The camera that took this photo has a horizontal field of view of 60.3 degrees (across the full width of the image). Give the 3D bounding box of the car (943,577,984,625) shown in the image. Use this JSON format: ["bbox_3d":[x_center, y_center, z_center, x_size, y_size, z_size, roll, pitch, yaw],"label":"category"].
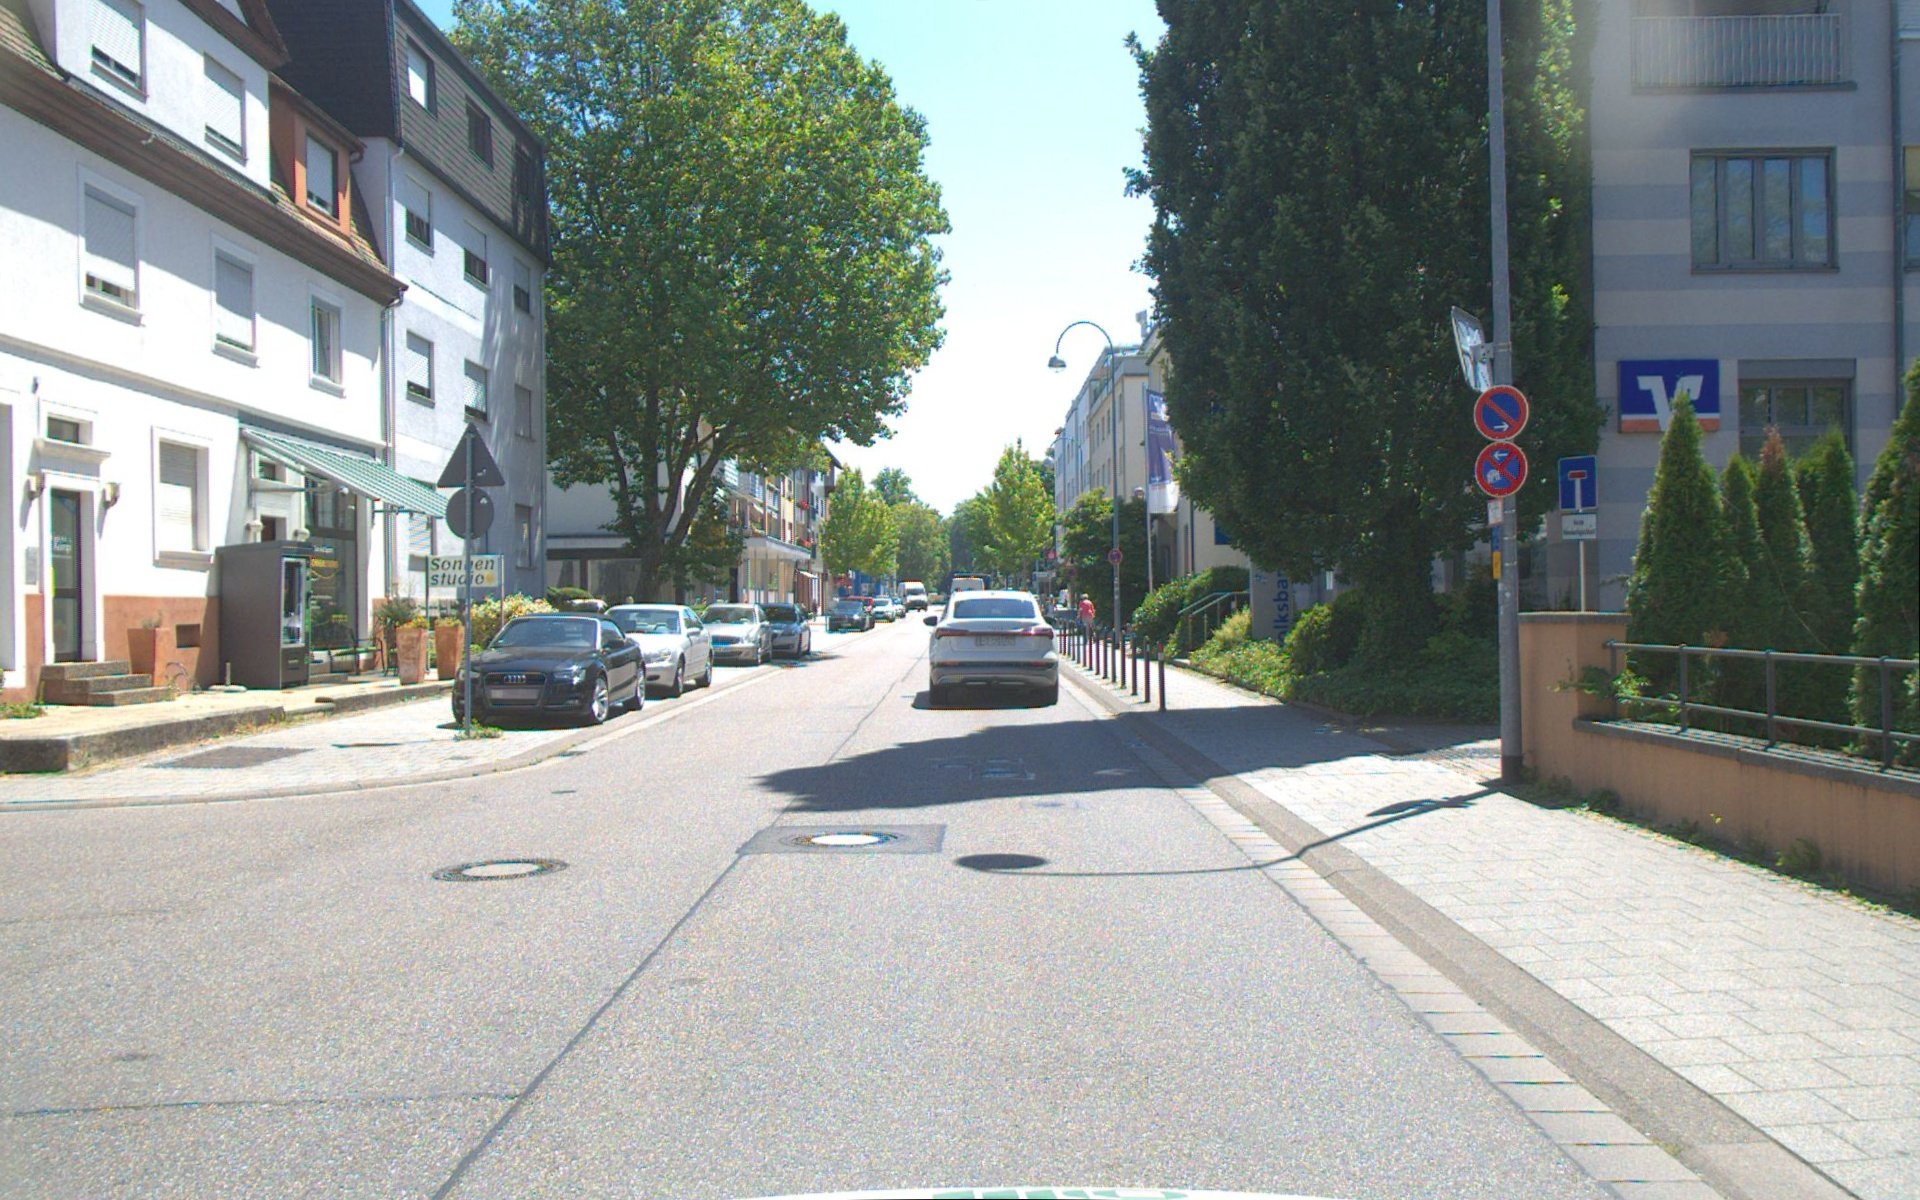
[{"bbox_3d":[0.201,0.051,89.347,2.112,2.484,5.283,1,0,0],"label":"car"}]

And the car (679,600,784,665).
[{"bbox_3d":[-5.506,0.740,40.378,1.940,1.477,4.867,0,0,-1],"label":"car"}]

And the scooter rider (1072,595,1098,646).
[{"bbox_3d":[3.971,0.650,52.534,0.701,1.576,0.770,-2,0,-2],"label":"scooter rider"}]

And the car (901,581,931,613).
[{"bbox_3d":[-4.002,-0.248,149.248,1.997,2.676,7.097,-3,0,-6],"label":"car"}]

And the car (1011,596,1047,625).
[{"bbox_3d":[3.653,0.537,88.532,1.857,1.463,4.545,-1,0,2],"label":"car"}]

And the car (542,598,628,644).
[{"bbox_3d":[-13.160,0.732,57.922,1.871,1.512,3.955,-1,0,-30],"label":"car"}]

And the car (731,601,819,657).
[{"bbox_3d":[-5.101,0.770,46.273,1.940,1.477,5.150,0,0,-1],"label":"car"}]

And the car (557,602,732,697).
[{"bbox_3d":[-5.331,0.782,28.654,1.940,1.477,5.358,0,0,1],"label":"car"}]

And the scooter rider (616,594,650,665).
[{"bbox_3d":[-7.562,0.671,38.277,0.576,1.603,0.877,1,0,1],"label":"scooter rider"}]

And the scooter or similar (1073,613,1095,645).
[{"bbox_3d":[3.979,0.932,53.128,0.649,0.980,0.754,-1,0,0],"label":"scooter or similar"}]

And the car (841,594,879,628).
[{"bbox_3d":[-5.293,0.580,87.824,1.717,1.732,4.101,1,0,0],"label":"car"}]

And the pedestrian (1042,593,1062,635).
[{"bbox_3d":[3.763,0.563,67.785,0.686,1.655,0.783,-4,-1,-1],"label":"pedestrian"}]

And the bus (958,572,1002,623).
[{"bbox_3d":[1.392,-0.139,110.920,2.605,3.278,7.303,1,0,3],"label":"bus"}]

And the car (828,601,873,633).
[{"bbox_3d":[-5.353,0.810,81.348,1.857,1.442,5.047,1,0,0],"label":"car"}]

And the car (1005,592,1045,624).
[{"bbox_3d":[3.716,0.438,94.674,1.858,1.704,4.688,-3,0,-2],"label":"car"}]

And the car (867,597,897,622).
[{"bbox_3d":[-5.221,0.616,111.135,1.716,1.646,4.401,1,0,1],"label":"car"}]

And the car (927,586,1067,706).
[{"bbox_3d":[0.486,0.639,25.151,1.953,1.661,3.999,0,0,-1],"label":"car"}]

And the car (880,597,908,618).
[{"bbox_3d":[-4.879,0.549,122.002,1.716,1.478,4.402,1,0,2],"label":"car"}]

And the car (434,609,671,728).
[{"bbox_3d":[-5.382,0.844,22.584,1.902,1.397,5.098,0,0,1],"label":"car"}]

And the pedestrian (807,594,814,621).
[{"bbox_3d":[-9.802,0.511,108.405,0.387,1.765,0.444,-1,0,-11],"label":"pedestrian"}]
